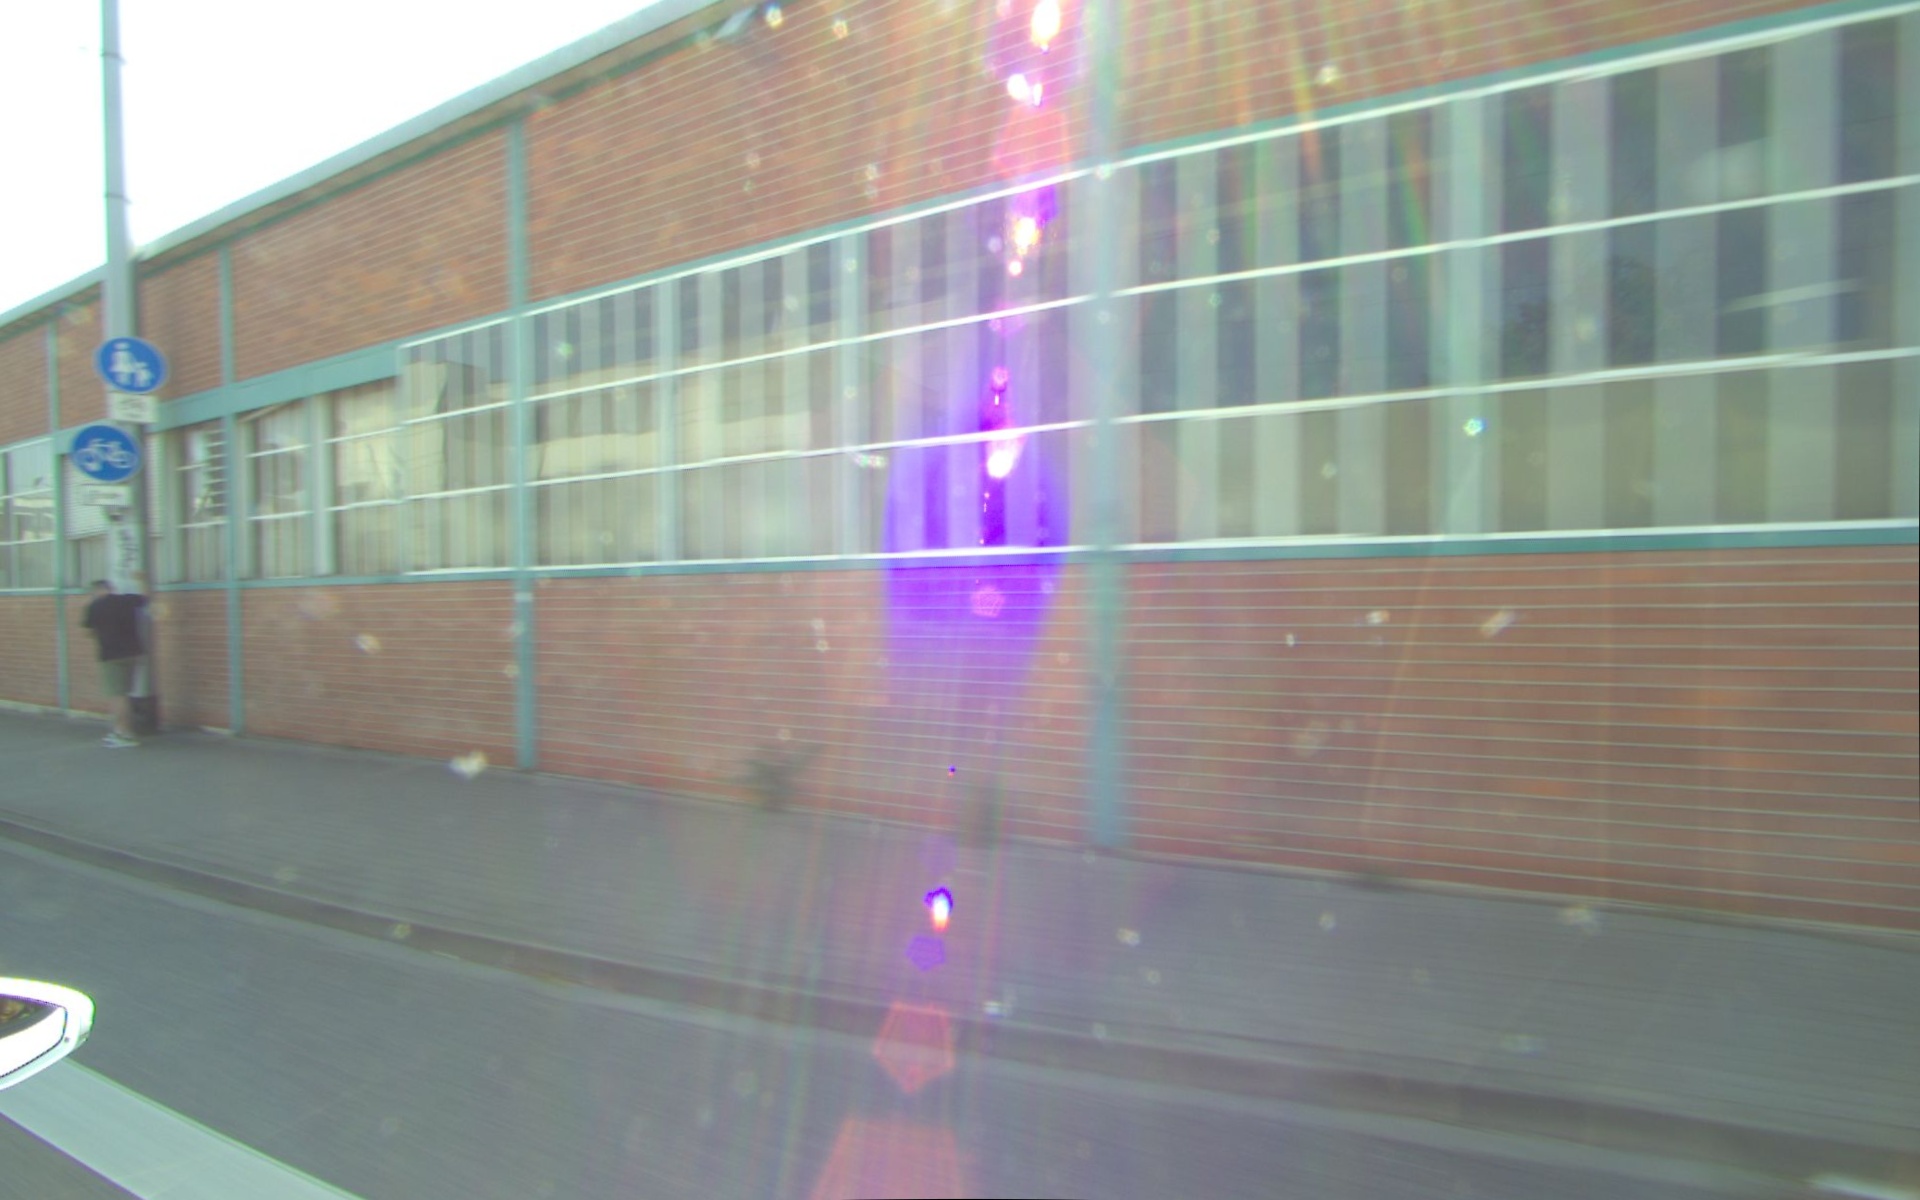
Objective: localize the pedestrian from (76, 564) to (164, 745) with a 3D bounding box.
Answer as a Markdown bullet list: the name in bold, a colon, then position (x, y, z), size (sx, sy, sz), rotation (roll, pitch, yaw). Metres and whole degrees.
- **pedestrian**: position (-8.597, 0.539, 10.251), size (0.679, 1.789, 0.445), rotation (0, 2, -41)
